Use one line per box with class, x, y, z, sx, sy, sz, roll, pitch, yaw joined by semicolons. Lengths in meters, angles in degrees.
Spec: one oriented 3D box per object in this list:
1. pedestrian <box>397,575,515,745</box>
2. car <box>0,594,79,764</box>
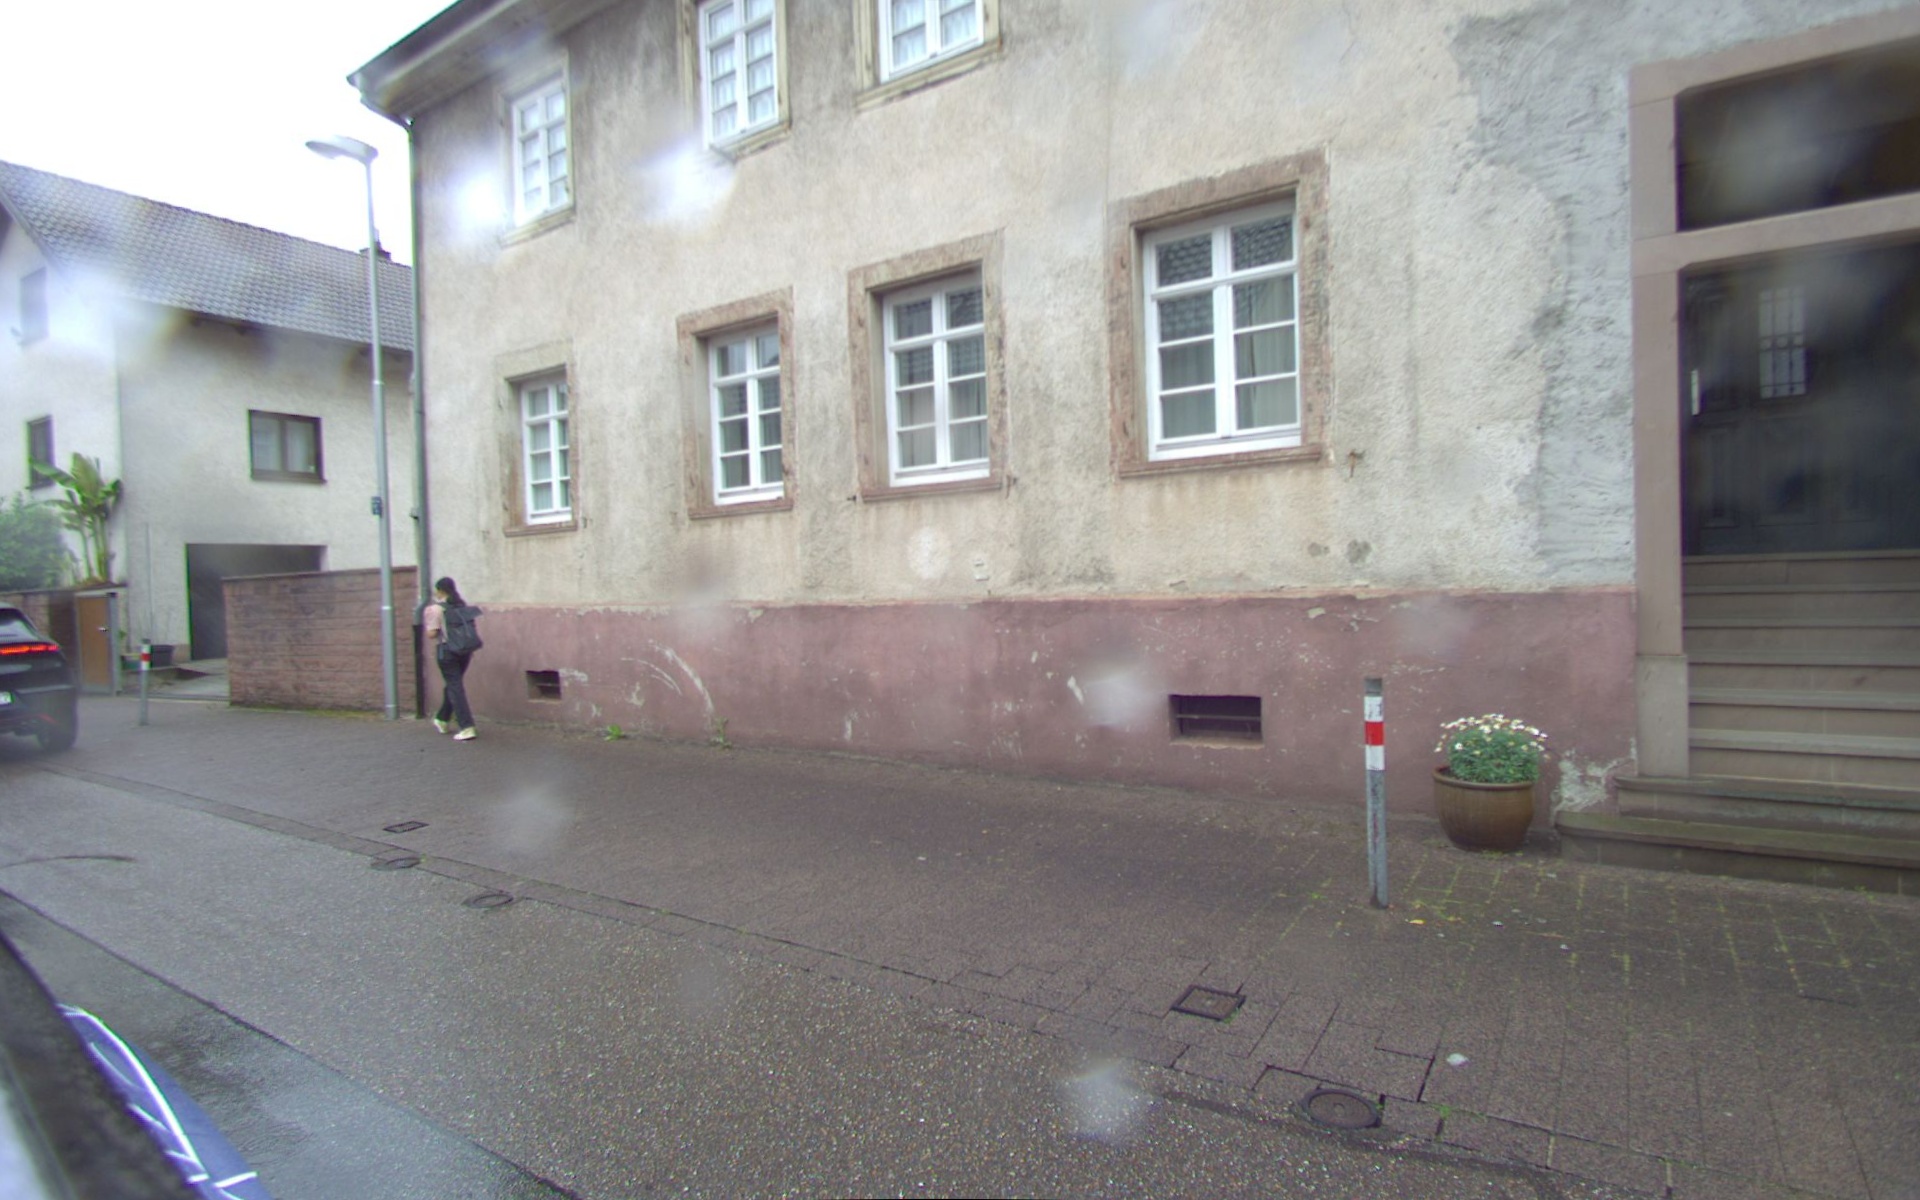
pedestrian;-4.847;0.555;9.736;0.829;1.549;0.568;-1;2;29
car;-10.584;0.796;10.109;3.781;1.522;1.610;-1;4;33
